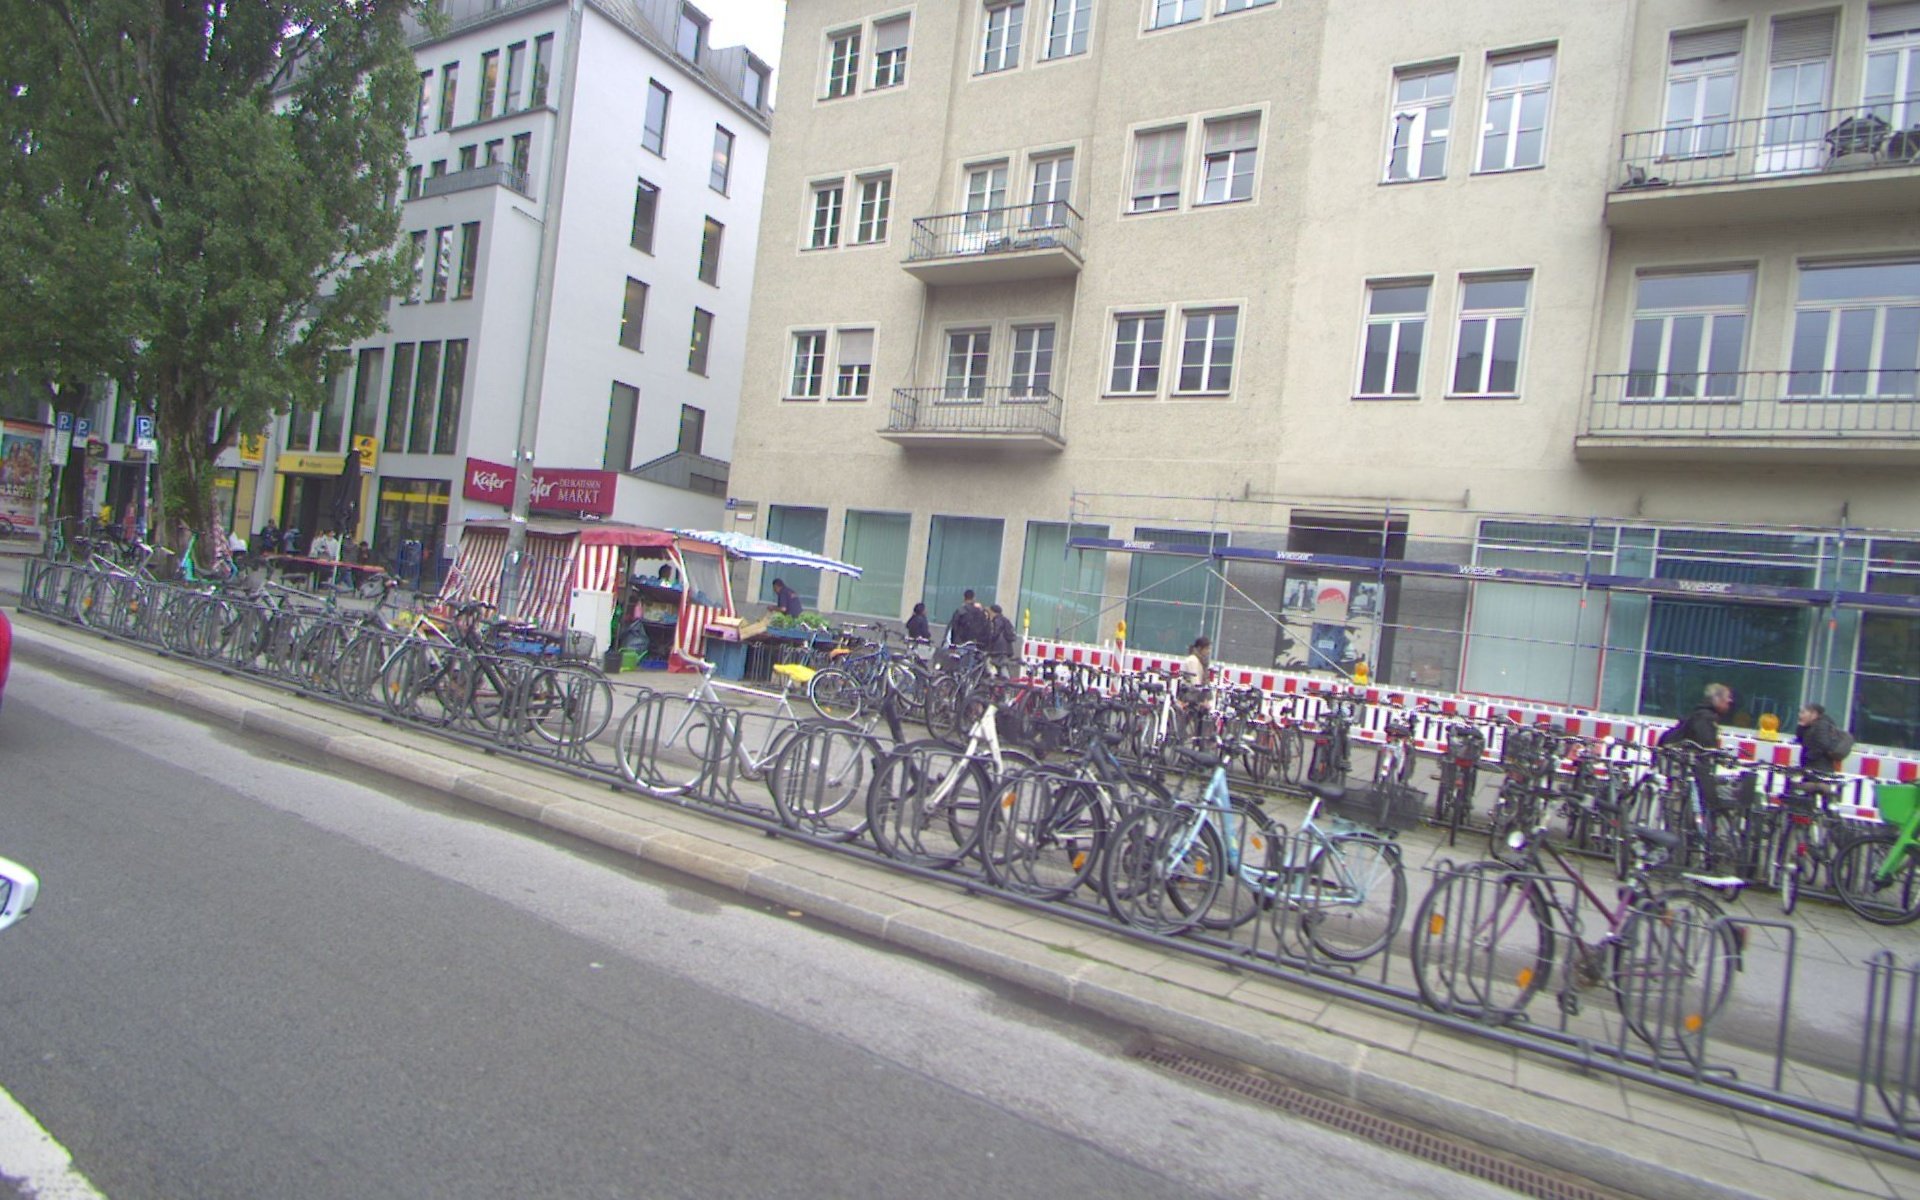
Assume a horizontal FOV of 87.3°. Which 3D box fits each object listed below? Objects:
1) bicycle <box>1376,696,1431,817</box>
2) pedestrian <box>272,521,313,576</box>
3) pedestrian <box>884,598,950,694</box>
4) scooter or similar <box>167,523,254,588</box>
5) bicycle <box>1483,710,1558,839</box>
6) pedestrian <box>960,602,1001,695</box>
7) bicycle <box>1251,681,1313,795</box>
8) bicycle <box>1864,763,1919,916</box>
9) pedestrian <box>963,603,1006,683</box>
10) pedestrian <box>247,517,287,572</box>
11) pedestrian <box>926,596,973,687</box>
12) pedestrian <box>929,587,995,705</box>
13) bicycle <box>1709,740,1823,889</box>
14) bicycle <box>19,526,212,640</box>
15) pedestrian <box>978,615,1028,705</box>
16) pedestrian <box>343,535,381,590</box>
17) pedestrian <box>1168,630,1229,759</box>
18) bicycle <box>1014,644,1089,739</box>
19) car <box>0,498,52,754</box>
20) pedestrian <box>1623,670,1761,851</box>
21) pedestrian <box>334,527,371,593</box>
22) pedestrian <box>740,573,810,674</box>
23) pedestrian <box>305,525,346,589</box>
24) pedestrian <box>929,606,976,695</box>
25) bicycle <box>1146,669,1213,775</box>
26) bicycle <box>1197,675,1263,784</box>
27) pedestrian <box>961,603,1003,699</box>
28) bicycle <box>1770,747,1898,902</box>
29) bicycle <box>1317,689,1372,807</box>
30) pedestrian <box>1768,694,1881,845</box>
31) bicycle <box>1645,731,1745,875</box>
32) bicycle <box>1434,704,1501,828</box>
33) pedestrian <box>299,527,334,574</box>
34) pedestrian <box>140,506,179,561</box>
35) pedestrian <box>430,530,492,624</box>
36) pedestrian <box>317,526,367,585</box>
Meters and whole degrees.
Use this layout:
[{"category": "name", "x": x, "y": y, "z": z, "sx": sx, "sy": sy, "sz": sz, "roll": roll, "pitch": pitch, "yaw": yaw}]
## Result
[{"category": "bicycle", "x": 4.730, "y": 1.631, "z": 10.776, "sx": 0.403, "sy": 1.091, "sz": 1.452, "roll": 6, "pitch": 0, "yaw": 23}, {"category": "pedestrian", "x": -21.329, "y": -1.642, "z": 32.146, "sx": 0.760, "sy": 1.605, "sz": 0.691, "roll": 7, "pitch": 1, "yaw": 31}, {"category": "pedestrian", "x": -0.736, "y": 0.786, "z": 17.224, "sx": 0.718, "sy": 1.547, "sz": 0.677, "roll": 7, "pitch": 1, "yaw": 33}, {"category": "scooter or similar", "x": -15.695, "y": -0.912, "z": 21.109, "sx": 0.393, "sy": 1.222, "sz": 1.470, "roll": 7, "pitch": 0, "yaw": 14}, {"category": "bicycle", "x": 5.717, "y": 1.740, "z": 10.310, "sx": 0.403, "sy": 1.091, "sz": 1.452, "roll": 6, "pitch": 0, "yaw": 23}, {"category": "pedestrian", "x": 0.384, "y": 0.925, "z": 19.017, "sx": 0.463, "sy": 1.692, "sz": 0.527, "roll": 7, "pitch": -1, "yaw": 16}, {"category": "bicycle", "x": 3.605, "y": 1.490, "z": 11.210, "sx": 0.403, "sy": 1.091, "sz": 1.535, "roll": 6, "pitch": 0, "yaw": 24}, {"category": "bicycle", "x": 8.257, "y": 2.040, "z": 8.634, "sx": 0.403, "sy": 1.091, "sz": 1.647, "roll": 7, "pitch": 1, "yaw": 34}, {"category": "pedestrian", "x": 0.525, "y": 0.916, "z": 21.415, "sx": 0.598, "sy": 1.623, "sz": 0.465, "roll": 7, "pitch": 1, "yaw": 29}, {"category": "pedestrian", "x": -22.485, "y": -1.804, "z": 32.646, "sx": 0.785, "sy": 1.669, "sz": 0.691, "roll": 7, "pitch": 1, "yaw": 31}, {"category": "pedestrian", "x": -0.205, "y": 0.805, "z": 19.636, "sx": 0.498, "sy": 1.693, "sz": 0.538, "roll": 6, "pitch": -1, "yaw": 43}, {"category": "pedestrian", "x": 0.042, "y": 0.765, "z": 16.794, "sx": 0.716, "sy": 1.851, "sz": 0.718, "roll": 7, "pitch": 1, "yaw": 17}, {"category": "bicycle", "x": 7.303, "y": 1.898, "z": 9.164, "sx": 0.403, "sy": 1.091, "sz": 1.451, "roll": 7, "pitch": 1, "yaw": 26}, {"category": "bicycle", "x": -10.160, "y": -0.192, "z": 12.162, "sx": 1.556, "sy": 1.065, "sz": 0.544, "roll": 11, "pitch": -2, "yaw": -21}, {"category": "pedestrian", "x": 0.839, "y": 1.168, "z": 19.909, "sx": 0.751, "sy": 1.671, "sz": 0.602, "roll": 7, "pitch": 1, "yaw": -2}, {"category": "pedestrian", "x": -17.148, "y": -1.061, "z": 28.845, "sx": 0.640, "sy": 1.493, "sz": 0.757, "roll": 7, "pitch": -1, "yaw": -20}, {"category": "pedestrian", "x": 3.139, "y": 1.220, "z": 13.289, "sx": 0.526, "sy": 1.602, "sz": 0.662, "roll": 7, "pitch": 1, "yaw": 7}, {"category": "bicycle", "x": 1.212, "y": 1.150, "z": 13.050, "sx": 0.403, "sy": 1.117, "sz": 1.633, "roll": 6, "pitch": 0, "yaw": 22}, {"category": "car", "x": -7.298, "y": -0.063, "z": 6.192, "sx": 3.539, "sy": 1.463, "sz": 1.667, "roll": 6, "pitch": -2, "yaw": 35}, {"category": "pedestrian", "x": 7.711, "y": 1.669, "z": 10.629, "sx": 0.693, "sy": 1.730, "sz": 0.738, "roll": 7, "pitch": 1, "yaw": -9}, {"category": "pedestrian", "x": -16.636, "y": -1.103, "z": 27.537, "sx": 0.588, "sy": 1.723, "sz": 0.579, "roll": 7, "pitch": 1, "yaw": 40}, {"category": "pedestrian", "x": -3.276, "y": 0.429, "z": 17.853, "sx": 0.717, "sy": 1.694, "sz": 0.794, "roll": 7, "pitch": 1, "yaw": 31}, {"category": "pedestrian", "x": -16.948, "y": -1.137, "z": 26.870, "sx": 0.625, "sy": 1.603, "sz": 0.641, "roll": 7, "pitch": 1, "yaw": 40}, {"category": "pedestrian", "x": -0.142, "y": 0.941, "z": 18.508, "sx": 0.458, "sy": 1.558, "sz": 0.560, "roll": 6, "pitch": -1, "yaw": 32}, {"category": "bicycle", "x": 2.605, "y": 1.400, "z": 11.849, "sx": 0.403, "sy": 1.091, "sz": 1.452, "roll": 6, "pitch": 0, "yaw": 23}, {"category": "bicycle", "x": 3.118, "y": 1.441, "z": 11.539, "sx": 0.403, "sy": 1.091, "sz": 1.535, "roll": 6, "pitch": 0, "yaw": 24}, {"category": "pedestrian", "x": 0.380, "y": 0.880, "z": 17.567, "sx": 0.543, "sy": 1.584, "sz": 0.653, "roll": 7, "pitch": 1, "yaw": -1}, {"category": "bicycle", "x": 7.731, "y": 1.945, "z": 8.952, "sx": 0.403, "sy": 1.091, "sz": 1.451, "roll": 7, "pitch": 1, "yaw": 26}, {"category": "bicycle", "x": 4.209, "y": 1.572, "z": 10.972, "sx": 0.403, "sy": 1.091, "sz": 1.452, "roll": 6, "pitch": 0, "yaw": 23}, {"category": "pedestrian", "x": 10.461, "y": 2.023, "z": 12.203, "sx": 0.821, "sy": 1.652, "sz": 0.563, "roll": 7, "pitch": 1, "yaw": 35}, {"category": "bicycle", "x": 6.847, "y": 1.850, "z": 9.421, "sx": 0.403, "sy": 1.091, "sz": 1.451, "roll": 7, "pitch": 1, "yaw": 26}, {"category": "bicycle", "x": 5.307, "y": 1.697, "z": 10.568, "sx": 0.403, "sy": 1.091, "sz": 1.452, "roll": 6, "pitch": 0, "yaw": 23}, {"category": "pedestrian", "x": -22.434, "y": -1.723, "z": 35.080, "sx": 0.756, "sy": 1.554, "sz": 0.706, "roll": 6, "pitch": 1, "yaw": -19}, {"category": "pedestrian", "x": -26.792, "y": -2.223, "z": 33.672, "sx": 0.711, "sy": 1.746, "sz": 0.736, "roll": 6, "pitch": 1, "yaw": -21}, {"category": "pedestrian", "x": -10.313, "y": -0.477, "z": 20.811, "sx": 0.563, "sy": 1.816, "sz": 0.793, "roll": 6, "pitch": -1, "yaw": 38}, {"category": "pedestrian", "x": -18.832, "y": -1.360, "z": 30.658, "sx": 1.006, "sy": 1.657, "sz": 0.800, "roll": 7, "pitch": 1, "yaw": 32}]
